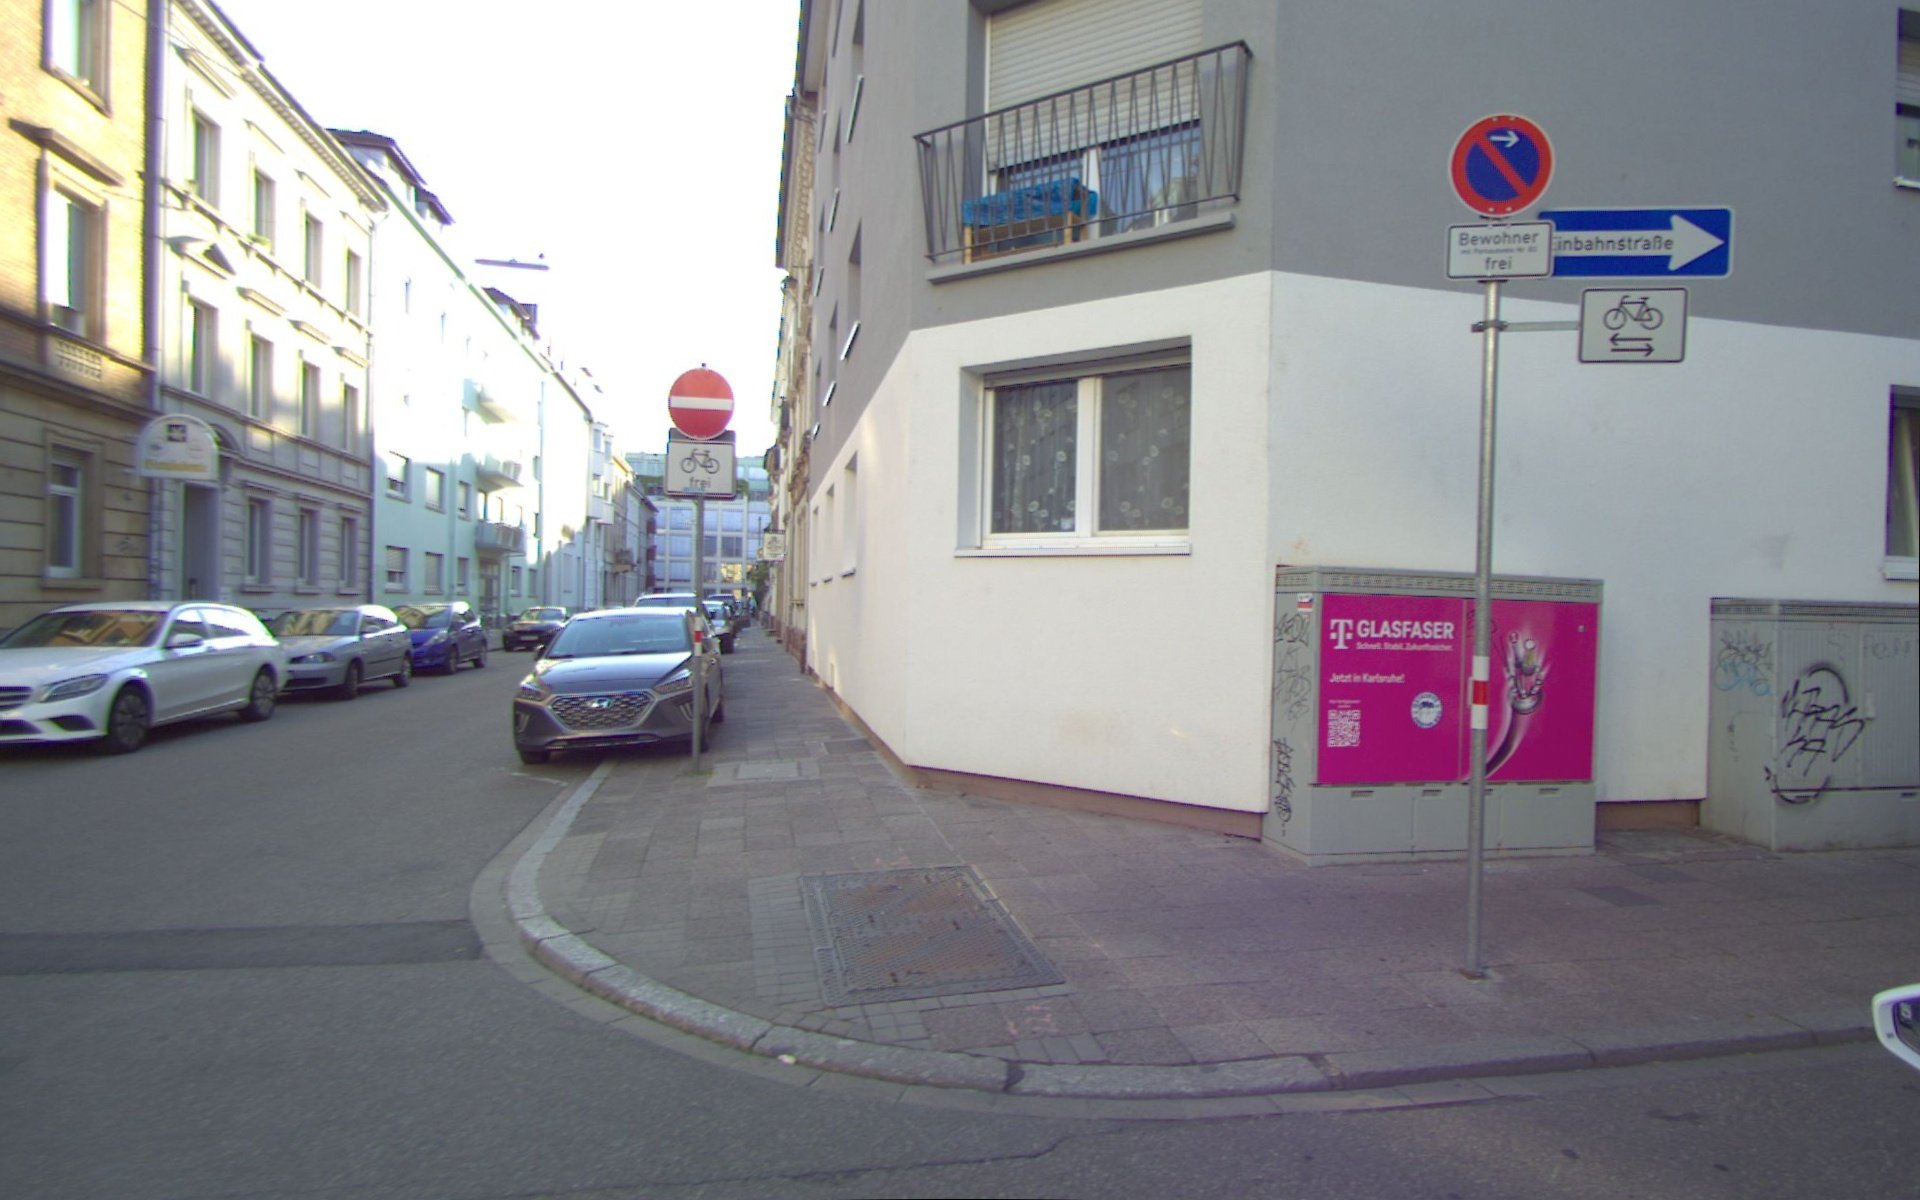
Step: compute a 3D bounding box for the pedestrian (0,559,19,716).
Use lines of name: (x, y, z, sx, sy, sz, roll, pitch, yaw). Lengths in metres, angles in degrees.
pedestrian: (-11.181, 0.418, 10.964, 0.970, 1.765, 1.012, 1, 0, -20)

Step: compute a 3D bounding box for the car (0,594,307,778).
car: (-9.049, 0.746, 10.811, 1.966, 1.585, 4.494, 1, 0, -14)

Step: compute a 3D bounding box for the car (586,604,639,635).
car: (-17.369, 0.958, 50.380, 2.143, 1.437, 3.989, 1, 0, -14)

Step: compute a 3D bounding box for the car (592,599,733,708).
car: (-4.785, 0.791, 16.653, 1.936, 1.578, 3.879, 1, 0, -12)

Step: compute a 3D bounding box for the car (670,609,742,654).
car: (-8.000, 0.968, 31.929, 1.965, 1.304, 3.992, 1, 0, -11)

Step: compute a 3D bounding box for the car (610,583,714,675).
car: (-6.368, 0.583, 21.843, 1.867, 1.808, 3.990, 1, 0, -13)

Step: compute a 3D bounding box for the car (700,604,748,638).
car: (-10.863, 0.930, 46.526, 1.965, 1.470, 3.992, 1, 0, -11)

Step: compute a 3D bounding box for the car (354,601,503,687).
car: (-11.368, 0.881, 21.778, 1.759, 1.681, 3.809, 1, 0, -10)

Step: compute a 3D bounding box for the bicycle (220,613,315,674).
bicycle: (-14.497, 0.888, 21.101, 0.727, 1.176, 2.456, 1, 0, -12)

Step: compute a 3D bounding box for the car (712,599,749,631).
car: (-12.986, 0.838, 56.977, 1.965, 1.723, 3.990, 1, 0, -12)

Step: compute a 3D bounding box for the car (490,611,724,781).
car: (-3.528, 0.855, 10.729, 1.911, 1.390, 3.779, -1, 0, -13)

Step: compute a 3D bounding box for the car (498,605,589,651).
car: (-13.556, 0.868, 32.949, 1.965, 1.373, 4.418, 1, 0, -12)

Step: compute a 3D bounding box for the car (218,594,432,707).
car: (-10.038, 0.733, 16.206, 1.601, 1.598, 3.747, 1, 0, -10)
